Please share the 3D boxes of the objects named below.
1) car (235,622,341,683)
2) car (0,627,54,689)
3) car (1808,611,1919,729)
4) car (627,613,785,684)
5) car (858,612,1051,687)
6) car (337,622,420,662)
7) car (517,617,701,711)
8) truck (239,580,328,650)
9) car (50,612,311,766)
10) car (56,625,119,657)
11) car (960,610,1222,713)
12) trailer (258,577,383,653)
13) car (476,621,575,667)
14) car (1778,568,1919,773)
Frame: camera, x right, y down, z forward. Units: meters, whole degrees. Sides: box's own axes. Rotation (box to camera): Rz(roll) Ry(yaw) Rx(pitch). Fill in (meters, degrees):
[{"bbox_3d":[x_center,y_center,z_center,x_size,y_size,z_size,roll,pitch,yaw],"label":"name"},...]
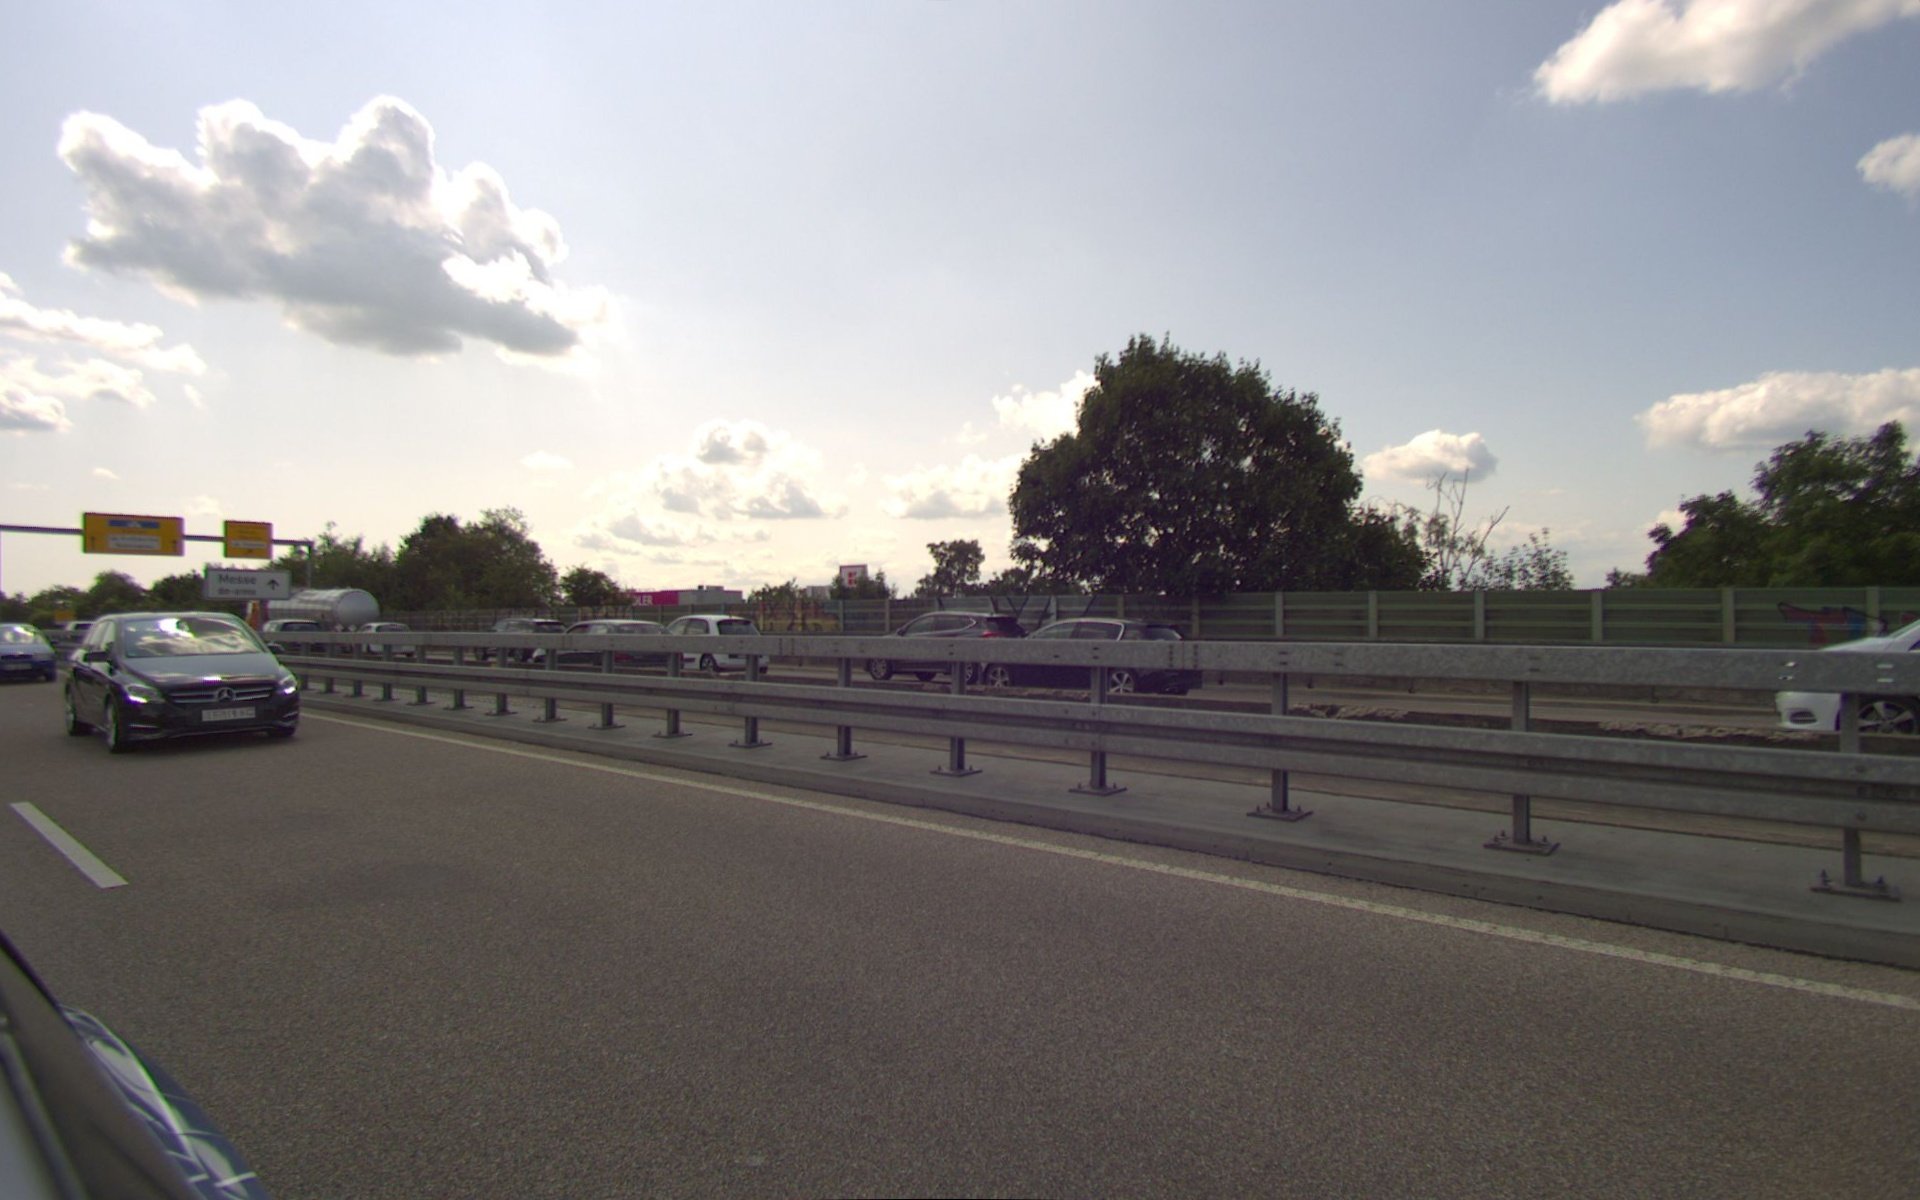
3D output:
[{"bbox_3d":[-22.660,1.708,34.077,4.238,1.871,1.972,-1,0,42],"label":"car"},{"bbox_3d":[-23.973,1.409,25.244,3.769,1.422,1.604,-1,0,41],"label":"car"},{"bbox_3d":[14.504,0.930,13.807,4.272,1.586,1.908,-1,-1,34],"label":"car"},{"bbox_3d":[-6.379,1.158,25.284,3.883,1.586,1.904,-1,0,40],"label":"car"},{"bbox_3d":[-0.189,1.100,23.697,4.279,1.586,1.904,-2,-1,40],"label":"car"},{"bbox_3d":[-24.180,1.700,42.050,3.957,1.520,1.764,-1,0,41],"label":"car"},{"bbox_3d":[-7.014,1.237,20.078,3.737,1.635,1.710,-3,-1,39],"label":"car"},{"bbox_3d":[-38.611,0.838,57.689,6.229,3.810,2.621,-1,0,41],"label":"truck"},{"bbox_3d":[-9.754,0.954,12.514,4.590,1.539,1.694,-1,0,41],"label":"car"},{"bbox_3d":[-52.486,2.435,60.860,4.589,1.763,1.975,-1,0,38],"label":"car"},{"bbox_3d":[2.225,1.012,17.819,4.241,1.586,1.904,-1,-2,40],"label":"car"},{"bbox_3d":[-34.073,0.778,53.675,11.025,3.697,2.656,-1,0,42],"label":"trailer"},{"bbox_3d":[-16.348,1.633,37.997,4.279,1.632,1.697,-1,-3,41],"label":"car"},{"bbox_3d":[10.982,0.596,9.377,5.185,1.940,1.941,-2,0,39],"label":"car"}]
